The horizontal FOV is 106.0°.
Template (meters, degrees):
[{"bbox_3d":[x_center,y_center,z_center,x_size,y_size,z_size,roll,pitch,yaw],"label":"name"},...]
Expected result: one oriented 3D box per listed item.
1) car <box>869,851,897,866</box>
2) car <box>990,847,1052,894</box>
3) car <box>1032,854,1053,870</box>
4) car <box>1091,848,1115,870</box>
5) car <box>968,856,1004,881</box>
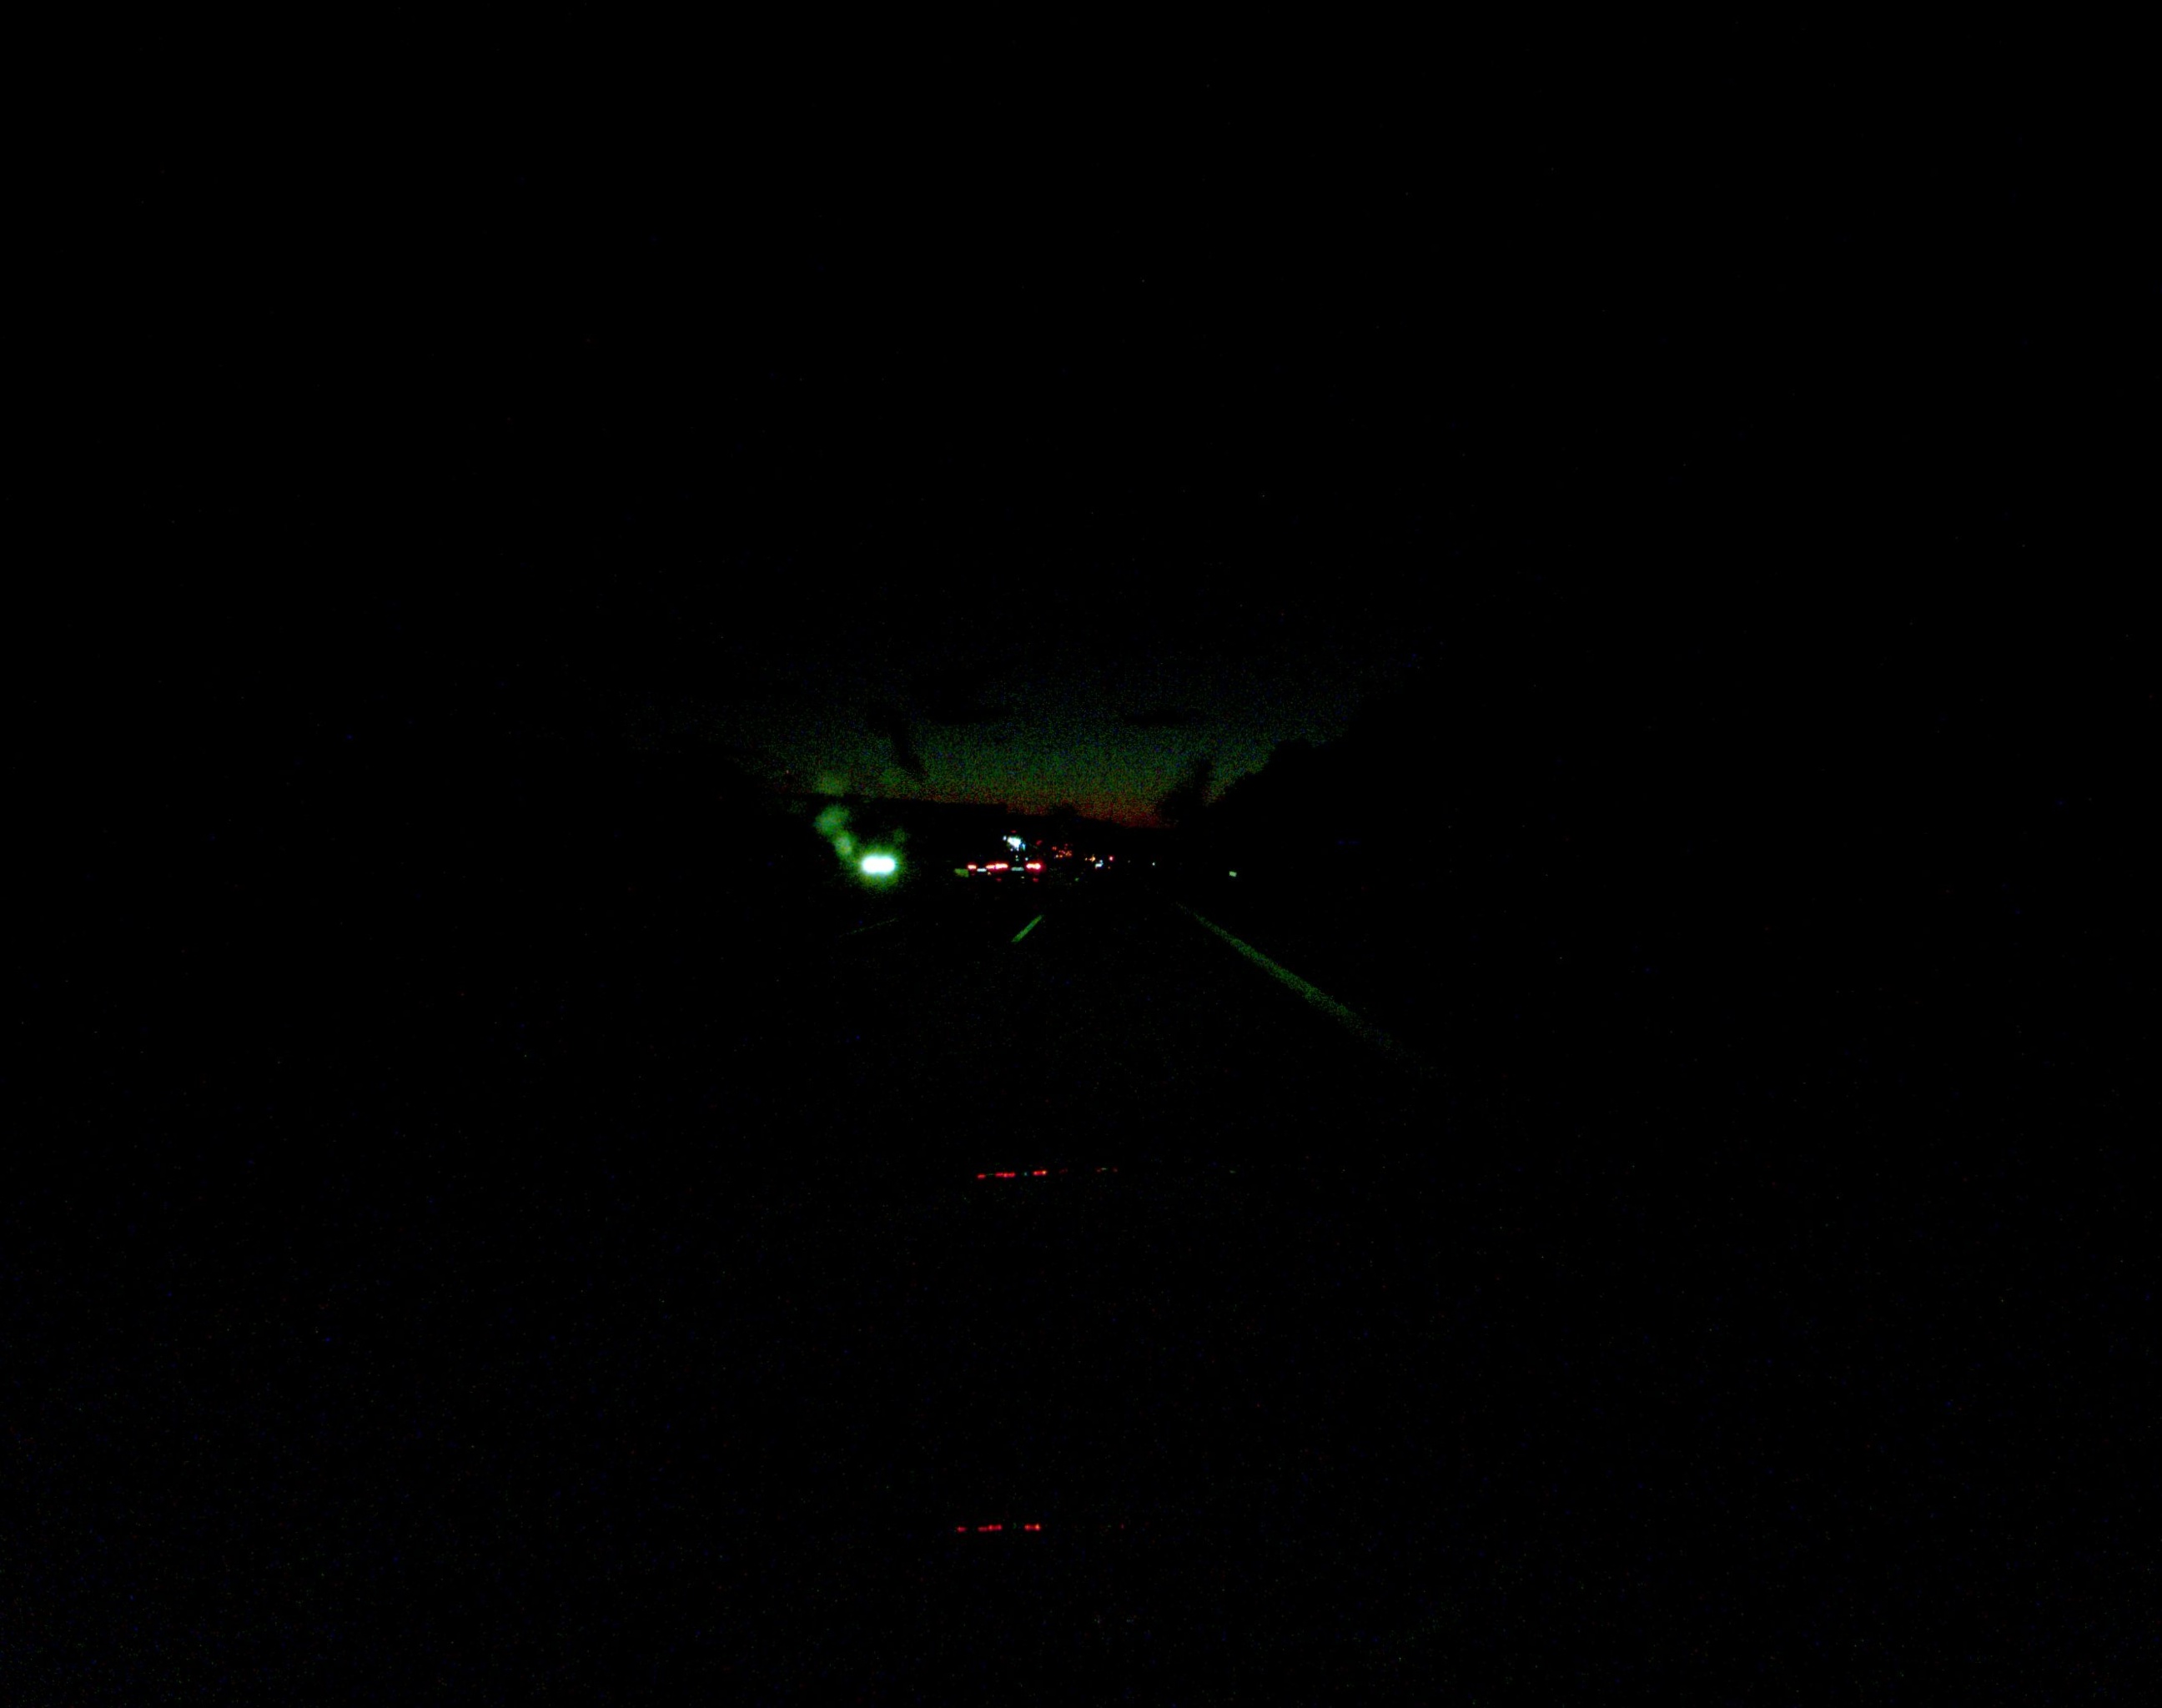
[{"bbox_3d":[-20.628,0.481,84.911,1.988,1.509,3.997,0,0,-2],"label":"car"},{"bbox_3d":[-2.421,0.644,34.194,1.986,1.721,5.943,-2,0,1],"label":"car"},{"bbox_3d":[-4.139,0.847,88.230,1.772,1.486,5.258,2,1,3],"label":"car"},{"bbox_3d":[2.137,0.433,77.903,2.188,1.955,4.765,-1,1,1],"label":"car"},{"bbox_3d":[-5.903,0.880,51.119,1.544,1.431,5.515,-1,0,1],"label":"car"}]
